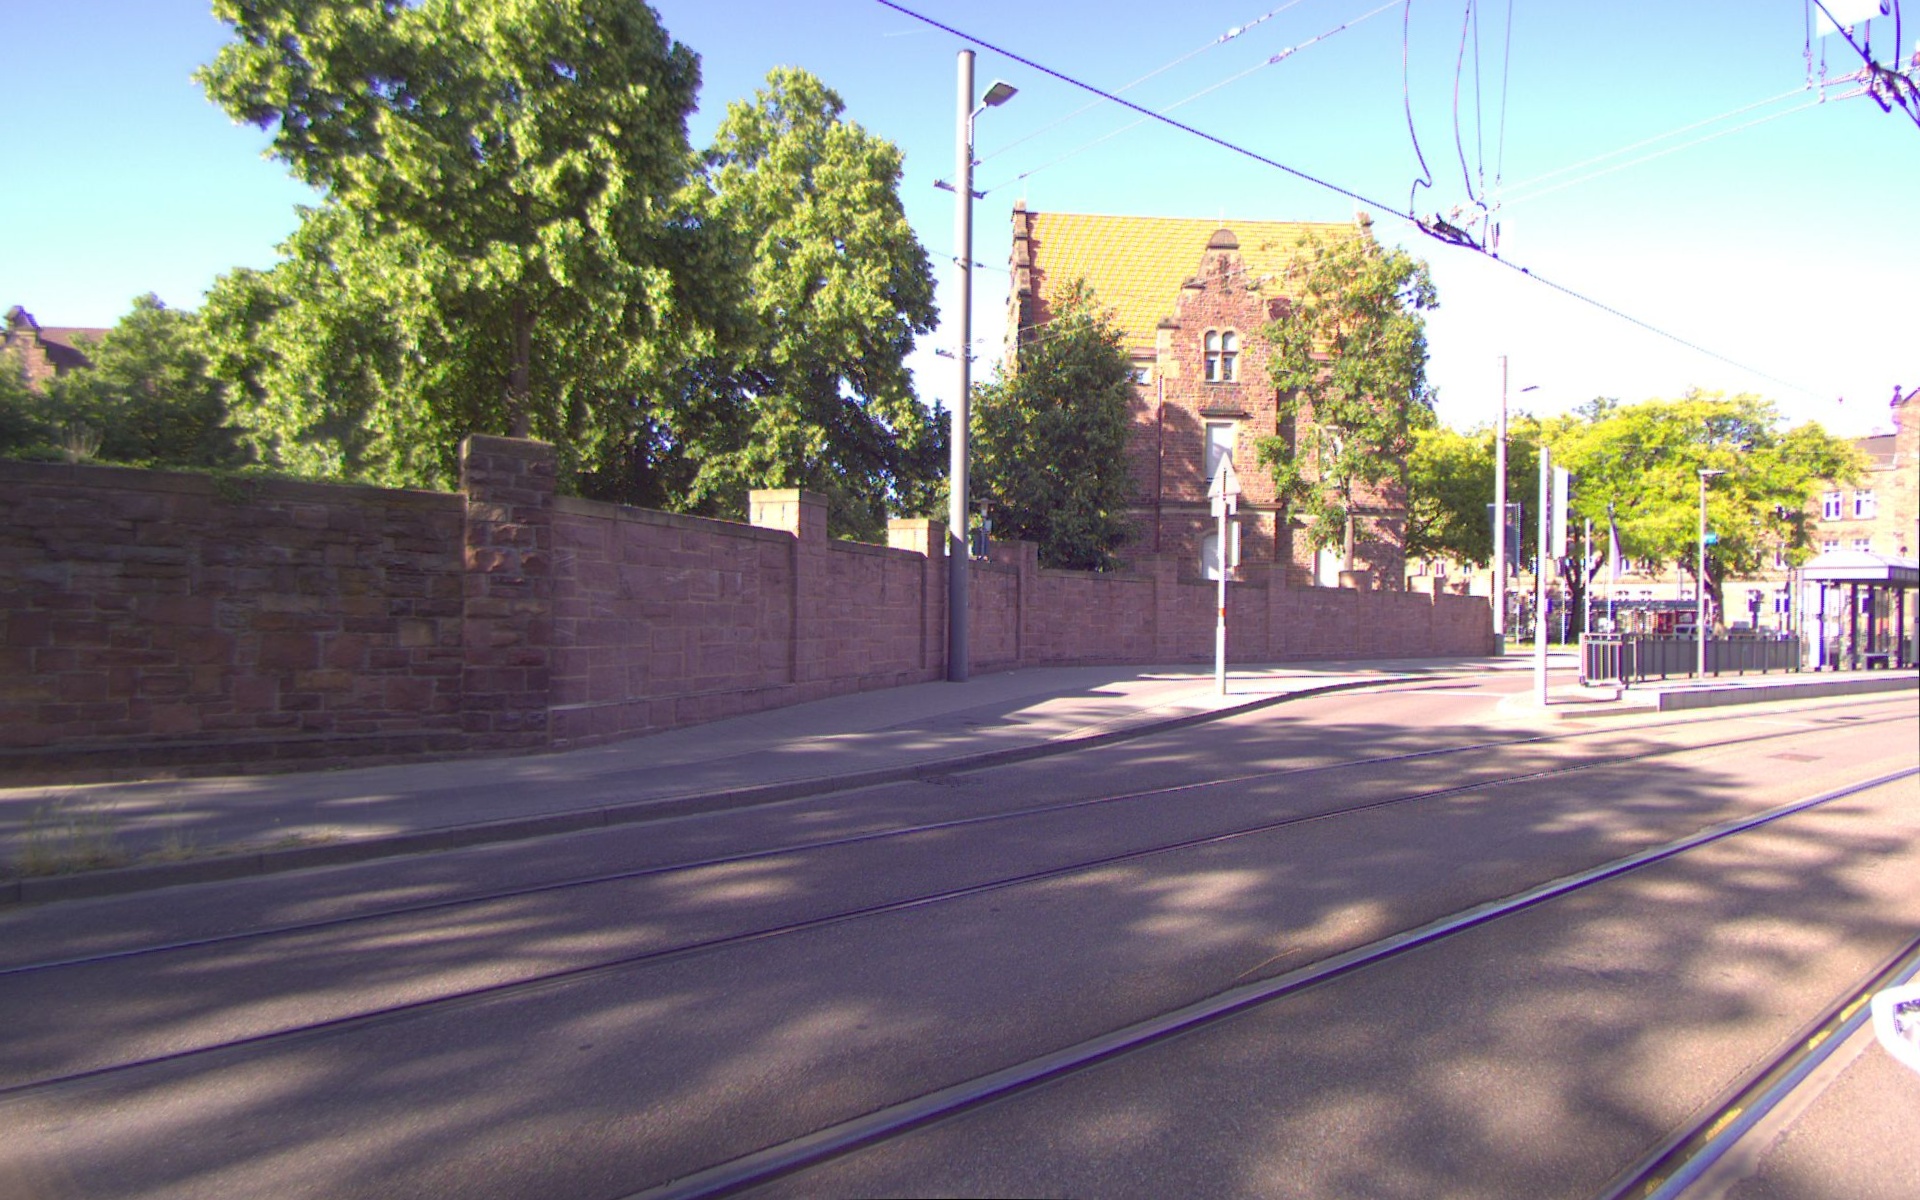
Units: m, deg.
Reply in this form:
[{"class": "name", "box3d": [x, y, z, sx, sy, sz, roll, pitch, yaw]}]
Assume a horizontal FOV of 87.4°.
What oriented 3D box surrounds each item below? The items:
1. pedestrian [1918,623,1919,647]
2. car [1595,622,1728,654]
[{"class": "pedestrian", "box3d": [64.552, 2.338, 66.916, 0.796, 1.609, 0.926, 2, 0, -33]}, {"class": "car", "box3d": [47.923, 2.579, 68.799, 2.957, 1.946, 6.915, 1, -1, -30]}]
